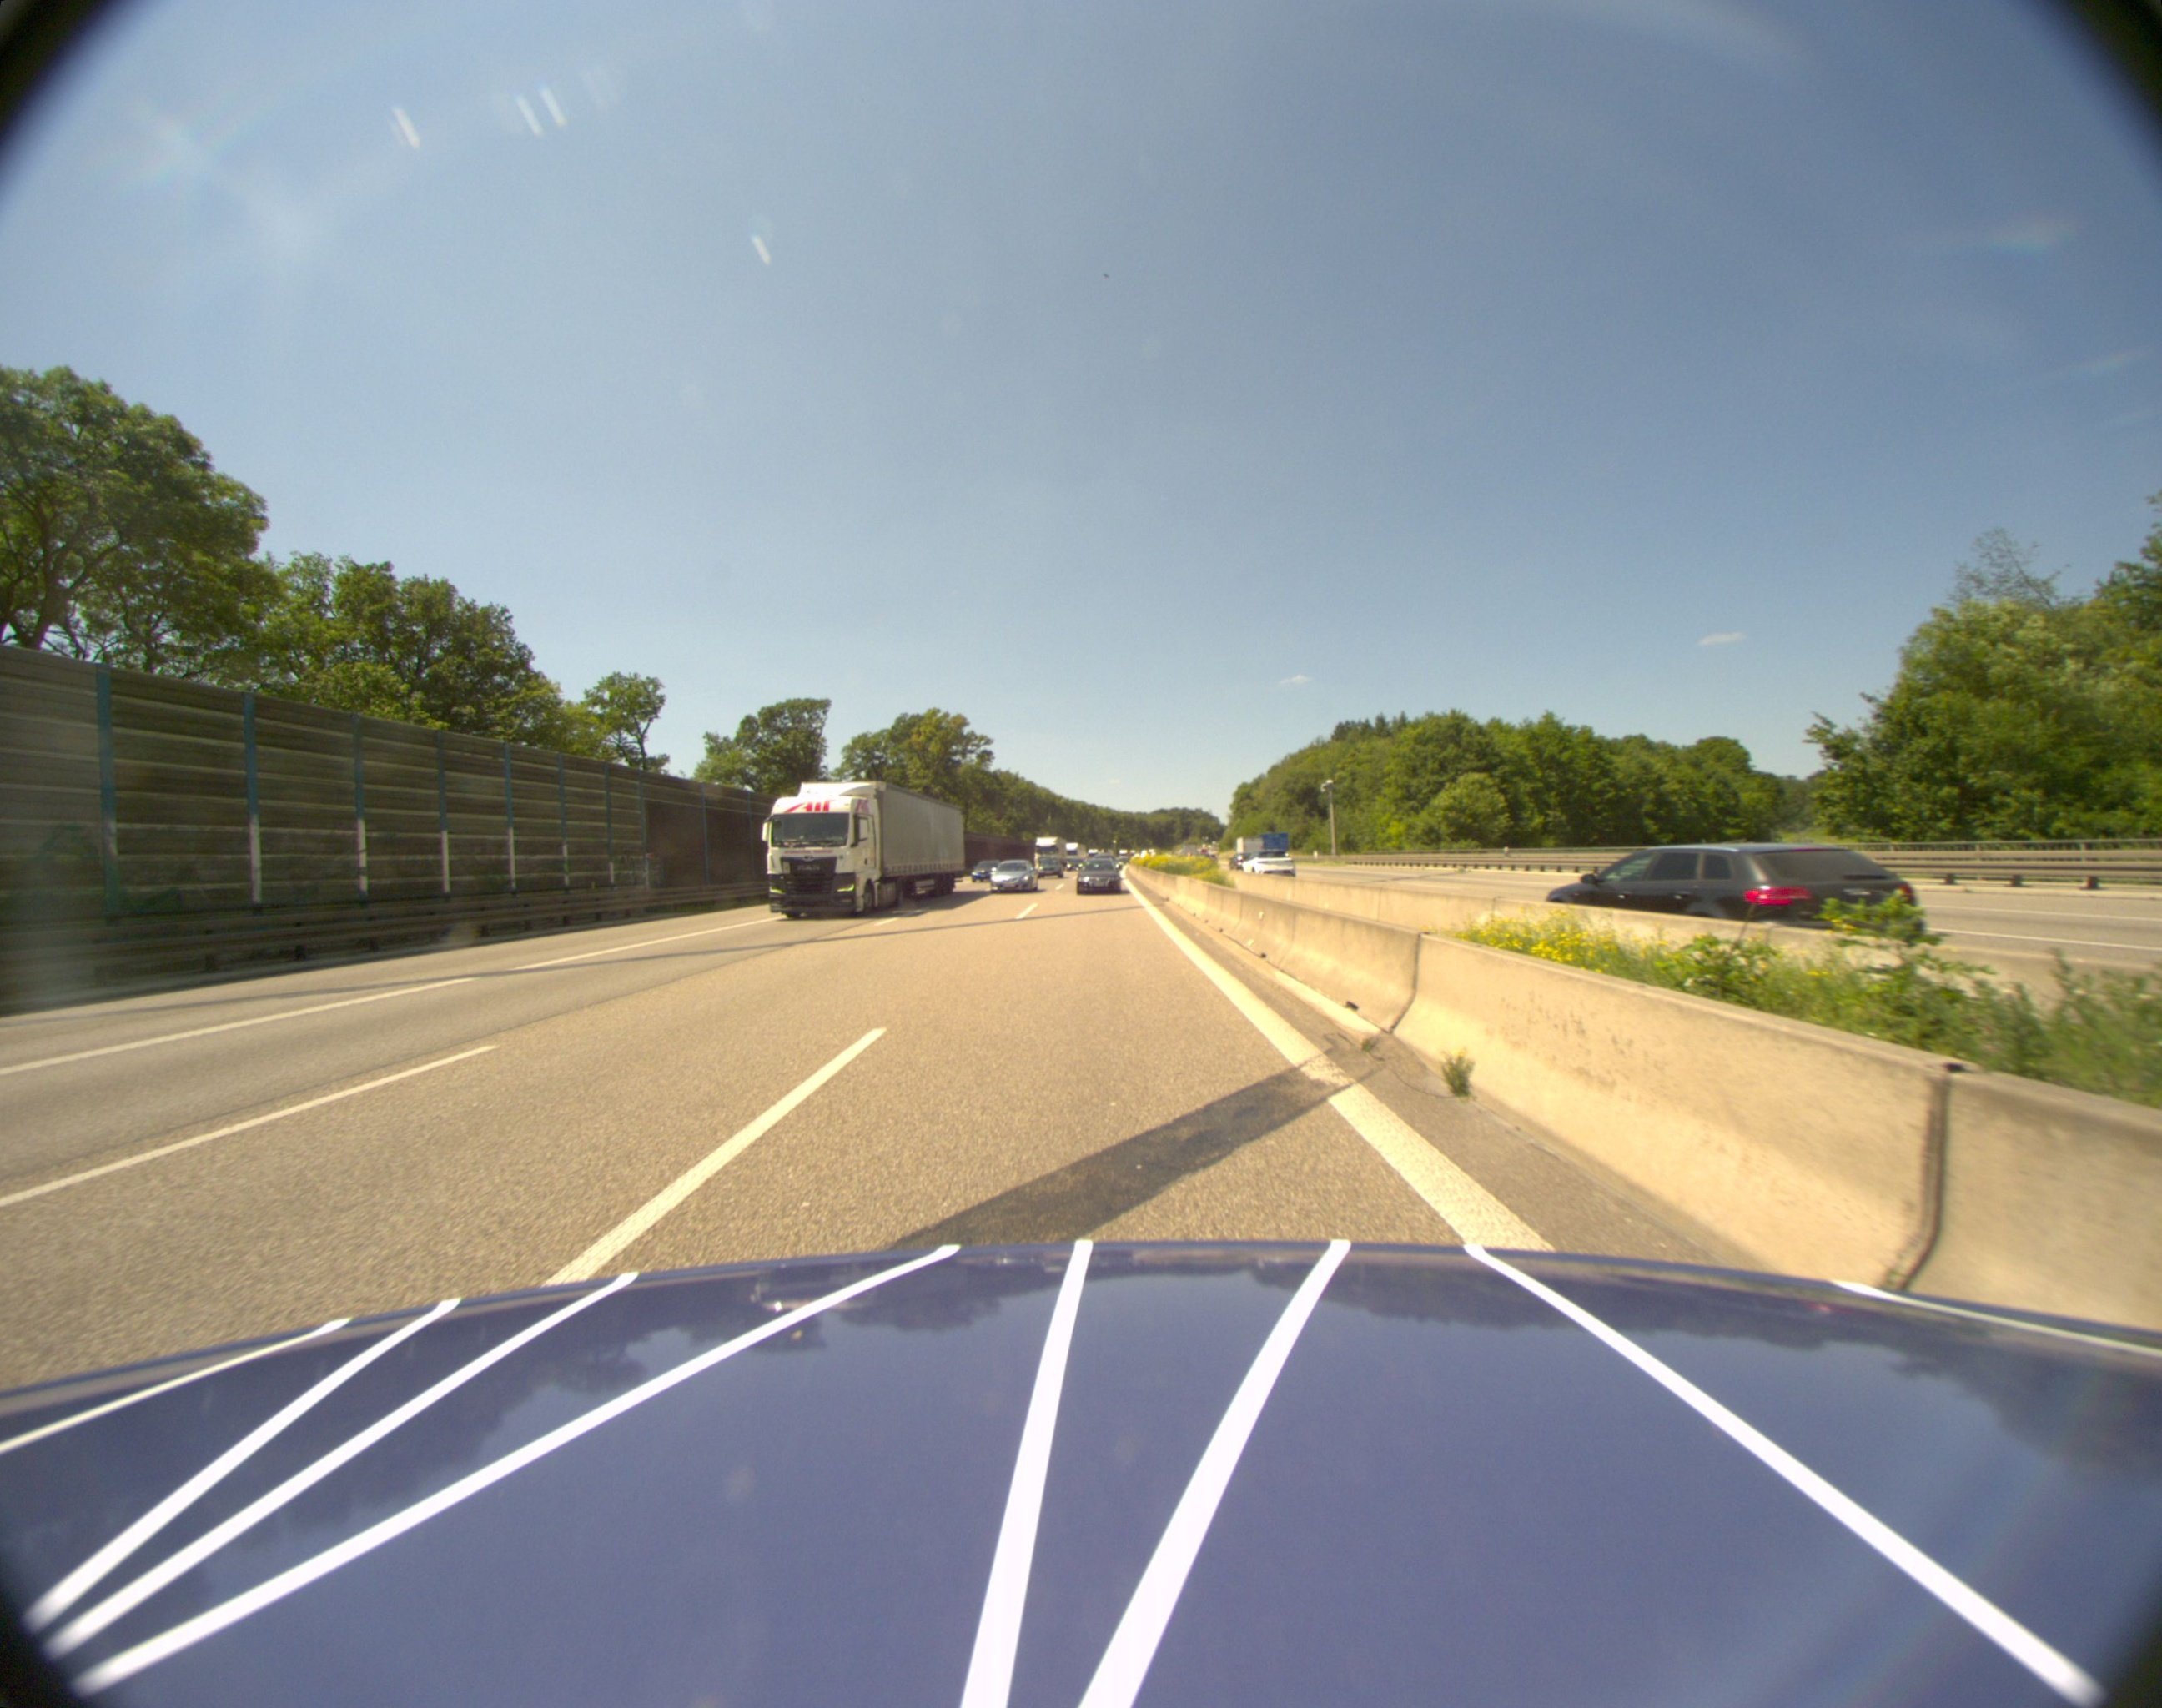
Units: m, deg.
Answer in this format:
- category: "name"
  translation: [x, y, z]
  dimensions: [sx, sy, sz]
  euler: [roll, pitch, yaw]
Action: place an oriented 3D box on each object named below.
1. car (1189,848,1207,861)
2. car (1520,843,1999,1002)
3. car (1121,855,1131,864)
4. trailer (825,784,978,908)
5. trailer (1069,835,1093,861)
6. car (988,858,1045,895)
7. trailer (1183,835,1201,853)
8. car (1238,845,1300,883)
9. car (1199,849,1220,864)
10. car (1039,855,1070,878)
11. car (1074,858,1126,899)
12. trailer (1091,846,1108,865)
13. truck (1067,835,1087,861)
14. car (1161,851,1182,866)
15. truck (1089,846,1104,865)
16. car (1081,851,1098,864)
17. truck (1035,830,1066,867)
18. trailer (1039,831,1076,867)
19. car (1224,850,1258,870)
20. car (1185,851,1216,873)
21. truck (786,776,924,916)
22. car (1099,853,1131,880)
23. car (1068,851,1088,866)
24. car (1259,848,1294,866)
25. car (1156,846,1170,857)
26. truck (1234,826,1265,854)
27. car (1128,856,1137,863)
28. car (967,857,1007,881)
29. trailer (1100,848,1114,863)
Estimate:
- category: "car"
  translation: [16.327, 0.008, 106.470]
  dimensions: [1.998, 1.691, 4.531]
  euler: [-2, 0, 3]
- category: "car"
  translation: [7.503, 0.608, 9.180]
  dimensions: [1.880, 1.402, 4.412]
  euler: [-2, 1, 1]
- category: "car"
  translation: [9.405, 1.156, 158.938]
  dimensions: [1.998, 1.641, 4.001]
  euler: [-2, 0, 5]
- category: "trailer"
  translation: [-6.948, -0.345, 32.272]
  dimensions: [2.604, 4.067, 13.592]
  euler: [-2, 1, 2]
- category: "trailer"
  translation: [0.040, -1.041, 131.956]
  dimensions: [2.541, 4.150, 10.182]
  euler: [-2, 0, 8]
- category: "car"
  translation: [-2.820, 0.961, 34.148]
  dimensions: [1.860, 1.426, 4.177]
  euler: [-2, 0, 4]
- category: "trailer"
  translation: [25.036, -2.301, 171.866]
  dimensions: [2.787, 3.834, 10.171]
  euler: [-2, 0, 3]
- category: "car"
  translation: [8.428, 0.410, 34.397]
  dimensions: [1.808, 1.518, 4.256]
  euler: [-2, 0, 2]
- category: "car"
  translation: [14.469, 0.264, 85.858]
  dimensions: [1.846, 1.537, 4.000]
  euler: [-1, 1, 3]
- category: "car"
  translation: [-1.945, 0.887, 56.446]
  dimensions: [1.907, 1.550, 4.001]
  euler: [-2, 0, 3]
- category: "car"
  translation: [0.802, 0.922, 30.385]
  dimensions: [1.907, 1.410, 4.001]
  euler: [-2, 0, 3]
- category: "trailer"
  translation: [4.615, 0.383, 188.707]
  dimensions: [2.853, 4.391, 13.033]
  euler: [-2, 0, 7]
- category: "truck"
  translation: [-0.649, -0.991, 127.211]
  dimensions: [2.544, 4.150, 4.748]
  euler: [-2, 0, 8]
- category: "car"
  translation: [9.487, 0.453, 79.942]
  dimensions: [1.736, 1.397, 4.611]
  euler: [-1, 1, 1]
- category: "truck"
  translation: [3.727, 0.439, 180.933]
  dimensions: [2.853, 4.382, 5.241]
  euler: [-2, 0, 6]
- category: "car"
  translation: [1.162, 0.472, 104.413]
  dimensions: [1.998, 1.641, 4.001]
  euler: [-2, 0, 5]
- category: "truck"
  translation: [-3.597, -0.622, 91.801]
  dimensions: [2.811, 4.190, 5.423]
  euler: [-2, 0, 6]
- category: "trailer"
  translation: [-2.897, -0.653, 98.633]
  dimensions: [2.820, 4.190, 13.470]
  euler: [-2, 0, 6]
- category: "car"
  translation: [12.205, 0.454, 58.247]
  dimensions: [1.847, 1.412, 4.233]
  euler: [-2, 0, 2]
- category: "car"
  translation: [8.476, 0.540, 53.969]
  dimensions: [1.669, 1.420, 3.857]
  euler: [-2, 0, 2]
- category: "truck"
  translation: [-7.237, -0.253, 25.186]
  dimensions: [2.604, 4.067, 5.552]
  euler: [-2, 1, 2]
- category: "car"
  translation: [2.314, 0.805, 50.906]
  dimensions: [1.998, 1.641, 4.000]
  euler: [-2, 1, 4]
- category: "car"
  translation: [-0.316, 0.466, 86.048]
  dimensions: [1.998, 1.641, 4.001]
  euler: [-2, 0, 3]
- category: "car"
  translation: [16.985, 0.262, 66.272]
  dimensions: [1.998, 1.472, 4.691]
  euler: [-1, 1, 2]
- category: "car"
  translation: [10.656, -0.332, 99.059]
  dimensions: [1.636, 1.419, 4.036]
  euler: [-1, 1, 3]
- category: "truck"
  translation: [22.411, -1.773, 101.294]
  dimensions: [2.742, 3.454, 7.316]
  euler: [-2, 0, 4]
- category: "car"
  translation: [12.779, 1.419, 188.501]
  dimensions: [1.998, 1.641, 4.001]
  euler: [-2, 0, 5]
- category: "car"
  translation: [-6.426, 1.007, 52.305]
  dimensions: [1.860, 1.484, 4.177]
  euler: [-2, 0, 4]
- category: "trailer"
  translation: [7.328, 0.495, 215.688]
  dimensions: [3.153, 4.061, 6.186]
  euler: [-2, 0, 9]
